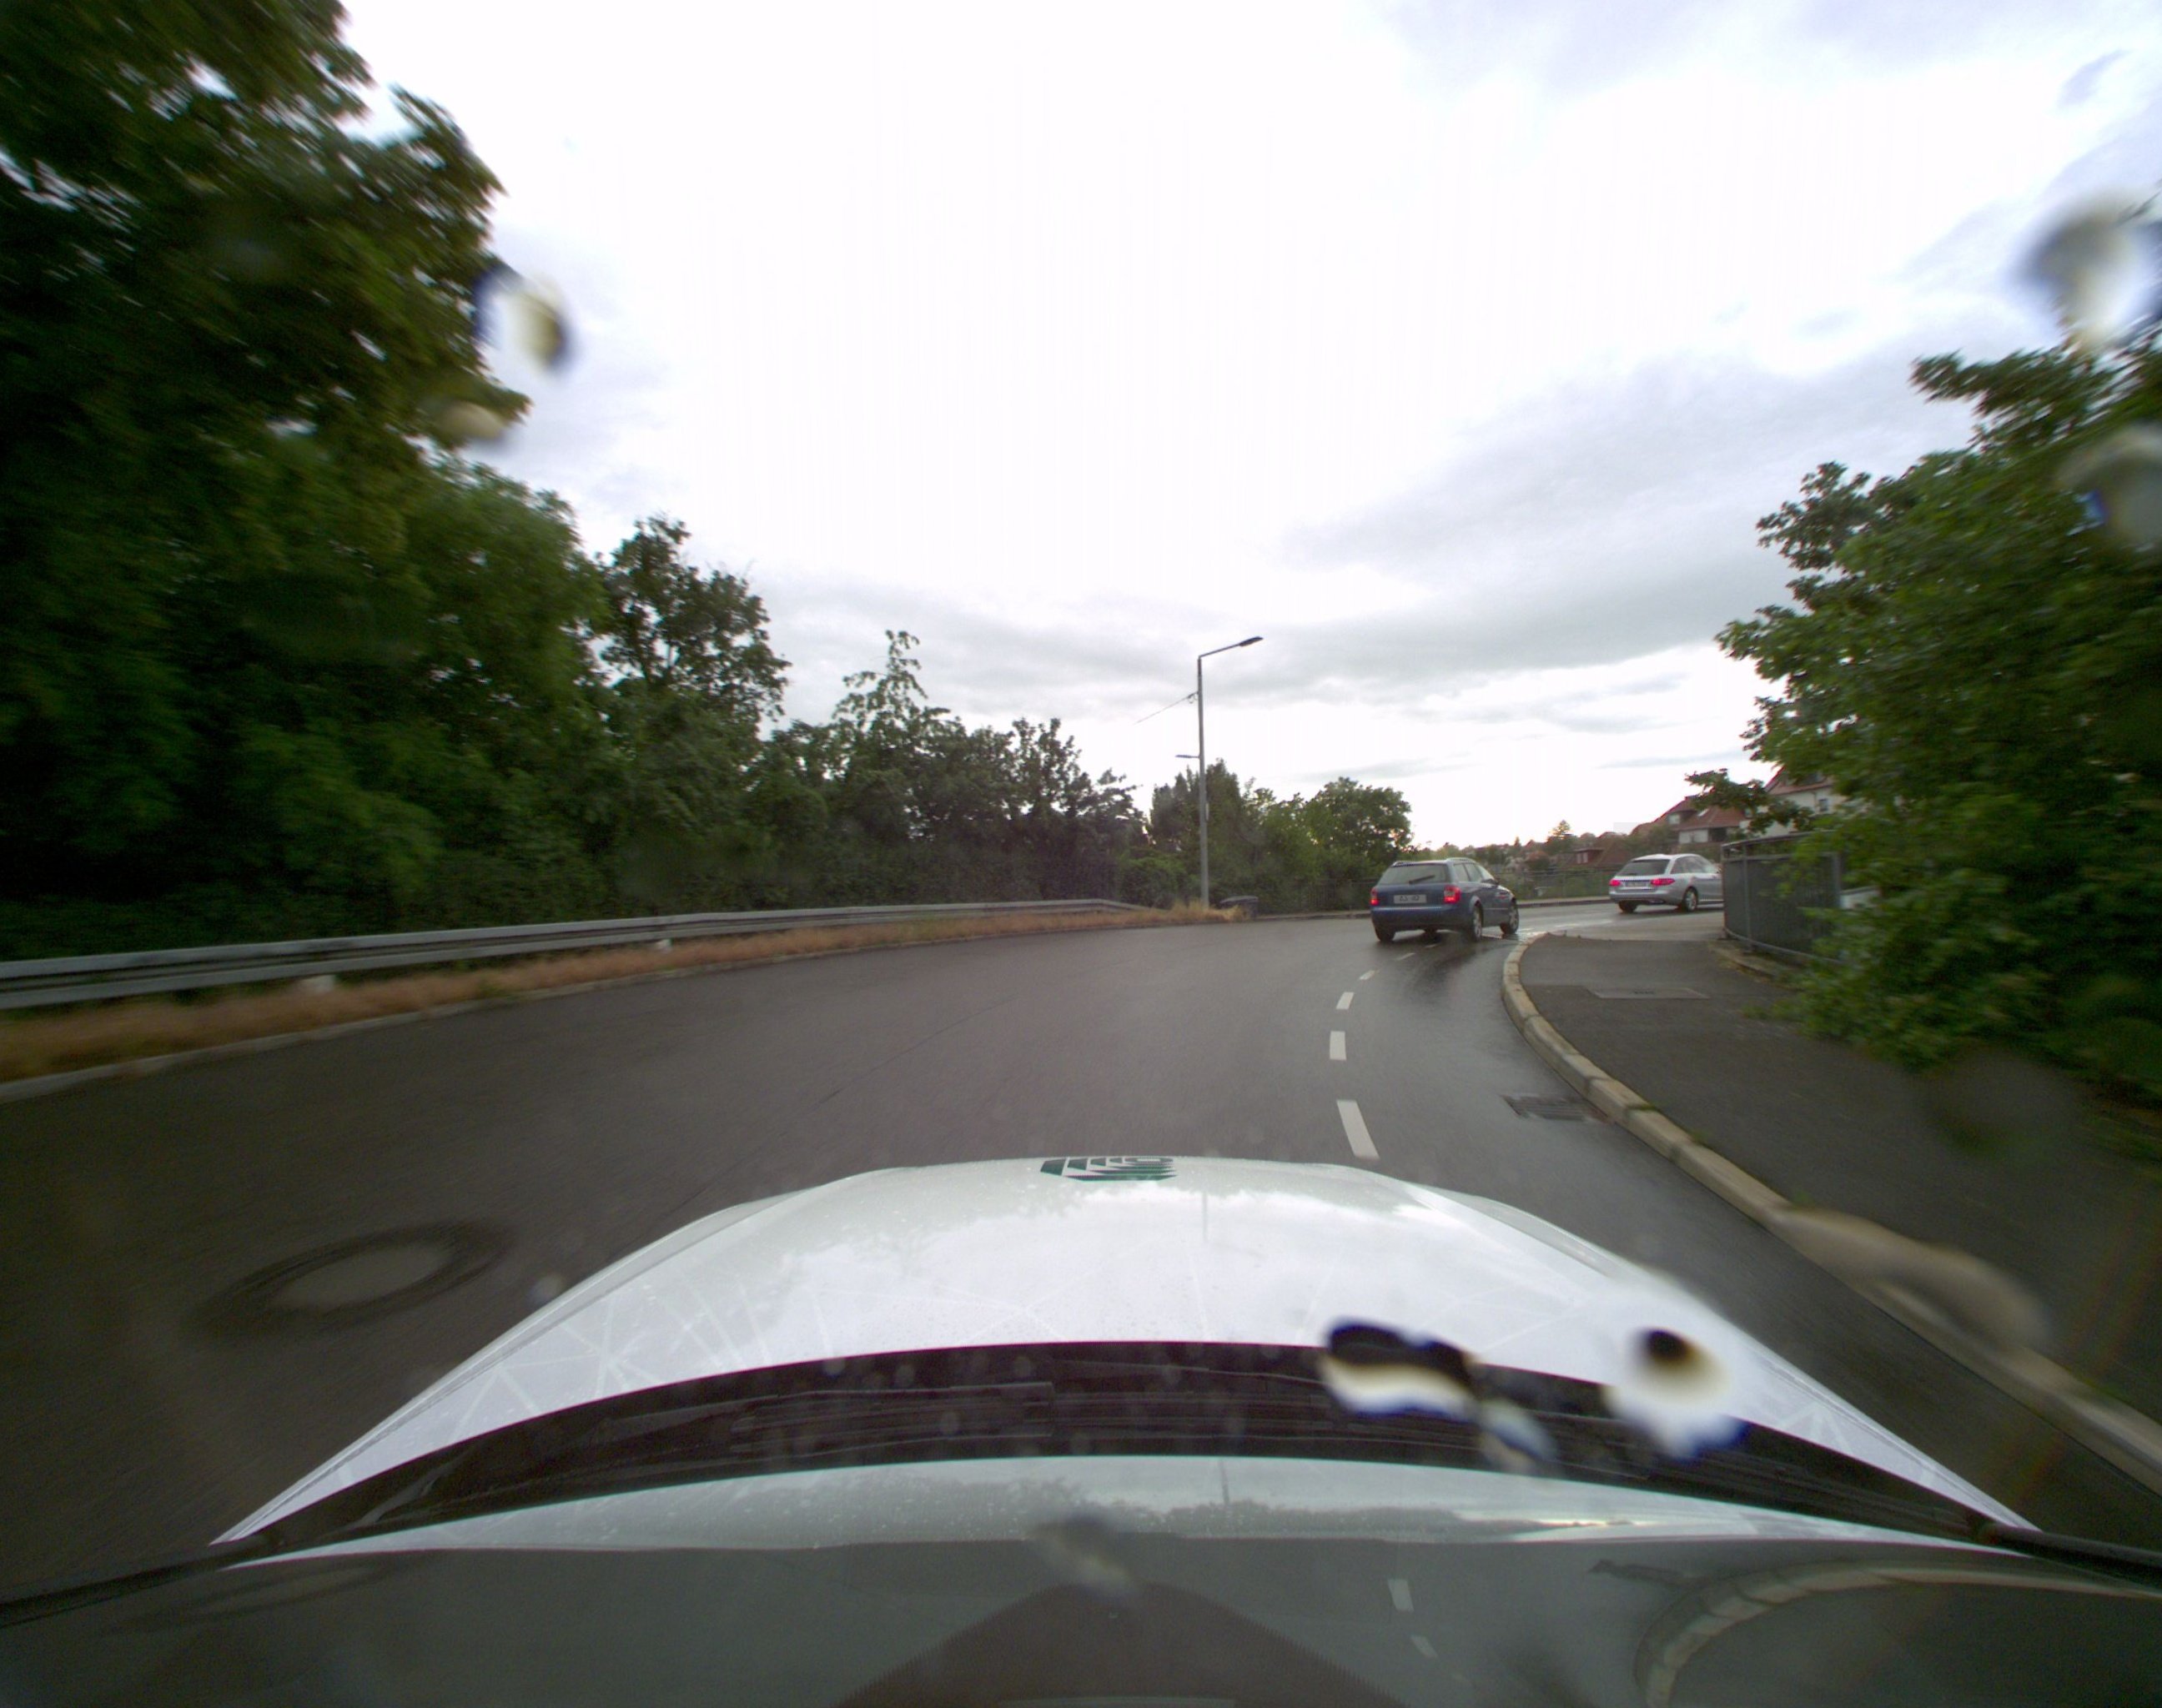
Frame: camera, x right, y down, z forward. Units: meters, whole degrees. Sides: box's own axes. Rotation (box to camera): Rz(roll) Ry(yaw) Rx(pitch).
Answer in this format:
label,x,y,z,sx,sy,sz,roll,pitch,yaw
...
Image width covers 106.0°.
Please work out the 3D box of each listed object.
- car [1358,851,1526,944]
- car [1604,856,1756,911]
label,x,y,z,sx,sy,sz,roll,pitch,yaw
car,6.818,0.708,15.151,1.730,1.407,4.025,-1,0,41
car,16.718,0.775,22.709,4.010,1.389,1.879,0,-1,-28
